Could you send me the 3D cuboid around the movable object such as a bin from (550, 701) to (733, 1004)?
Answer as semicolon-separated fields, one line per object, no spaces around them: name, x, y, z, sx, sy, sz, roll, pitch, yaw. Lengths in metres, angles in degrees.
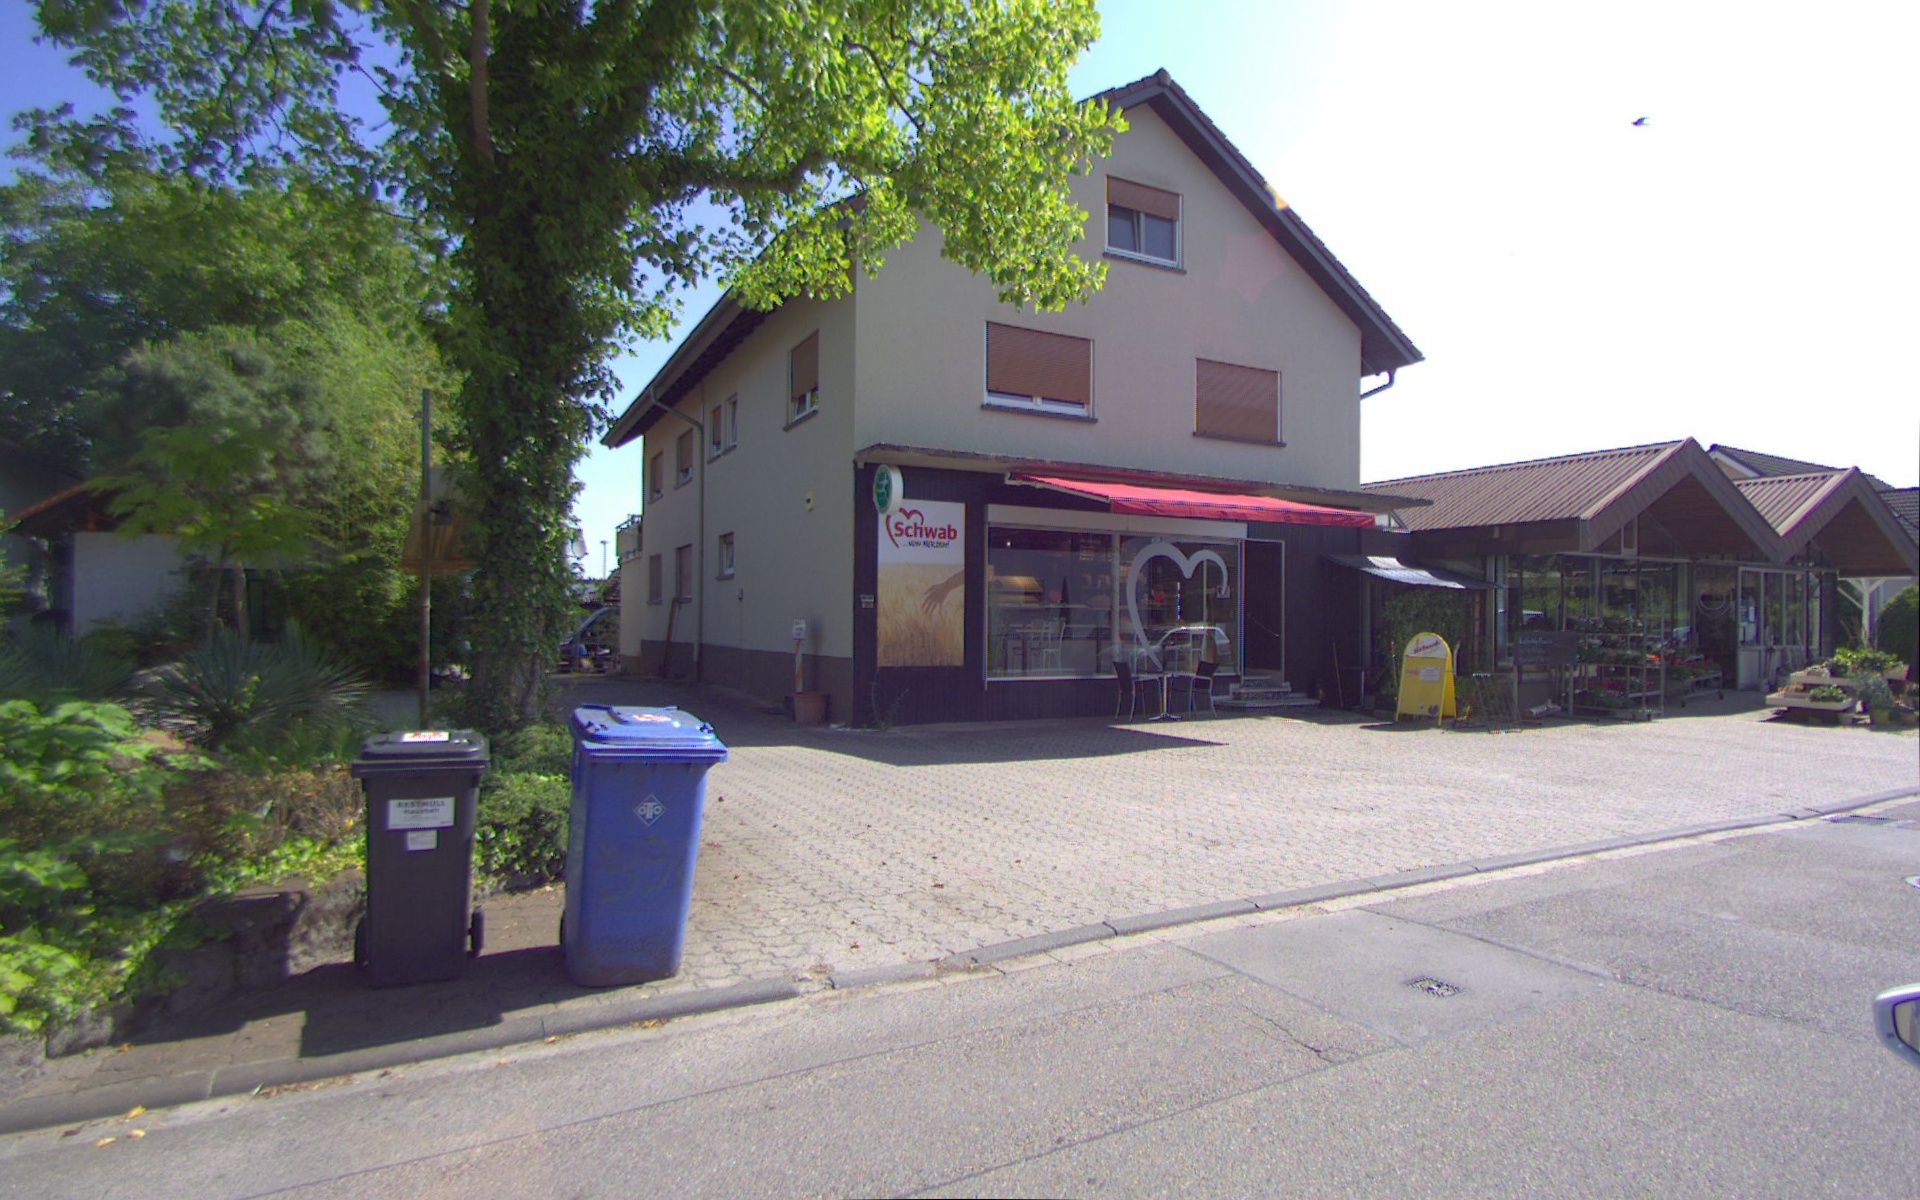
movable object such as a bin;-1.378;1.010;4.298;0.605;1.068;0.728;1;0;-29

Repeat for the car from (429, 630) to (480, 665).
car;-22.601;2.095;45.004;1.876;1.461;3.976;1;-2;-24

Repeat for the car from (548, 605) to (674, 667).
car;-14.404;1.484;41.452;4.595;2.441;2.178;1;-2;-30

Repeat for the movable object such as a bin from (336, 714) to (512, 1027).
movable object such as a bin;-2.114;1.010;3.982;0.561;1.038;0.580;1;0;-29
